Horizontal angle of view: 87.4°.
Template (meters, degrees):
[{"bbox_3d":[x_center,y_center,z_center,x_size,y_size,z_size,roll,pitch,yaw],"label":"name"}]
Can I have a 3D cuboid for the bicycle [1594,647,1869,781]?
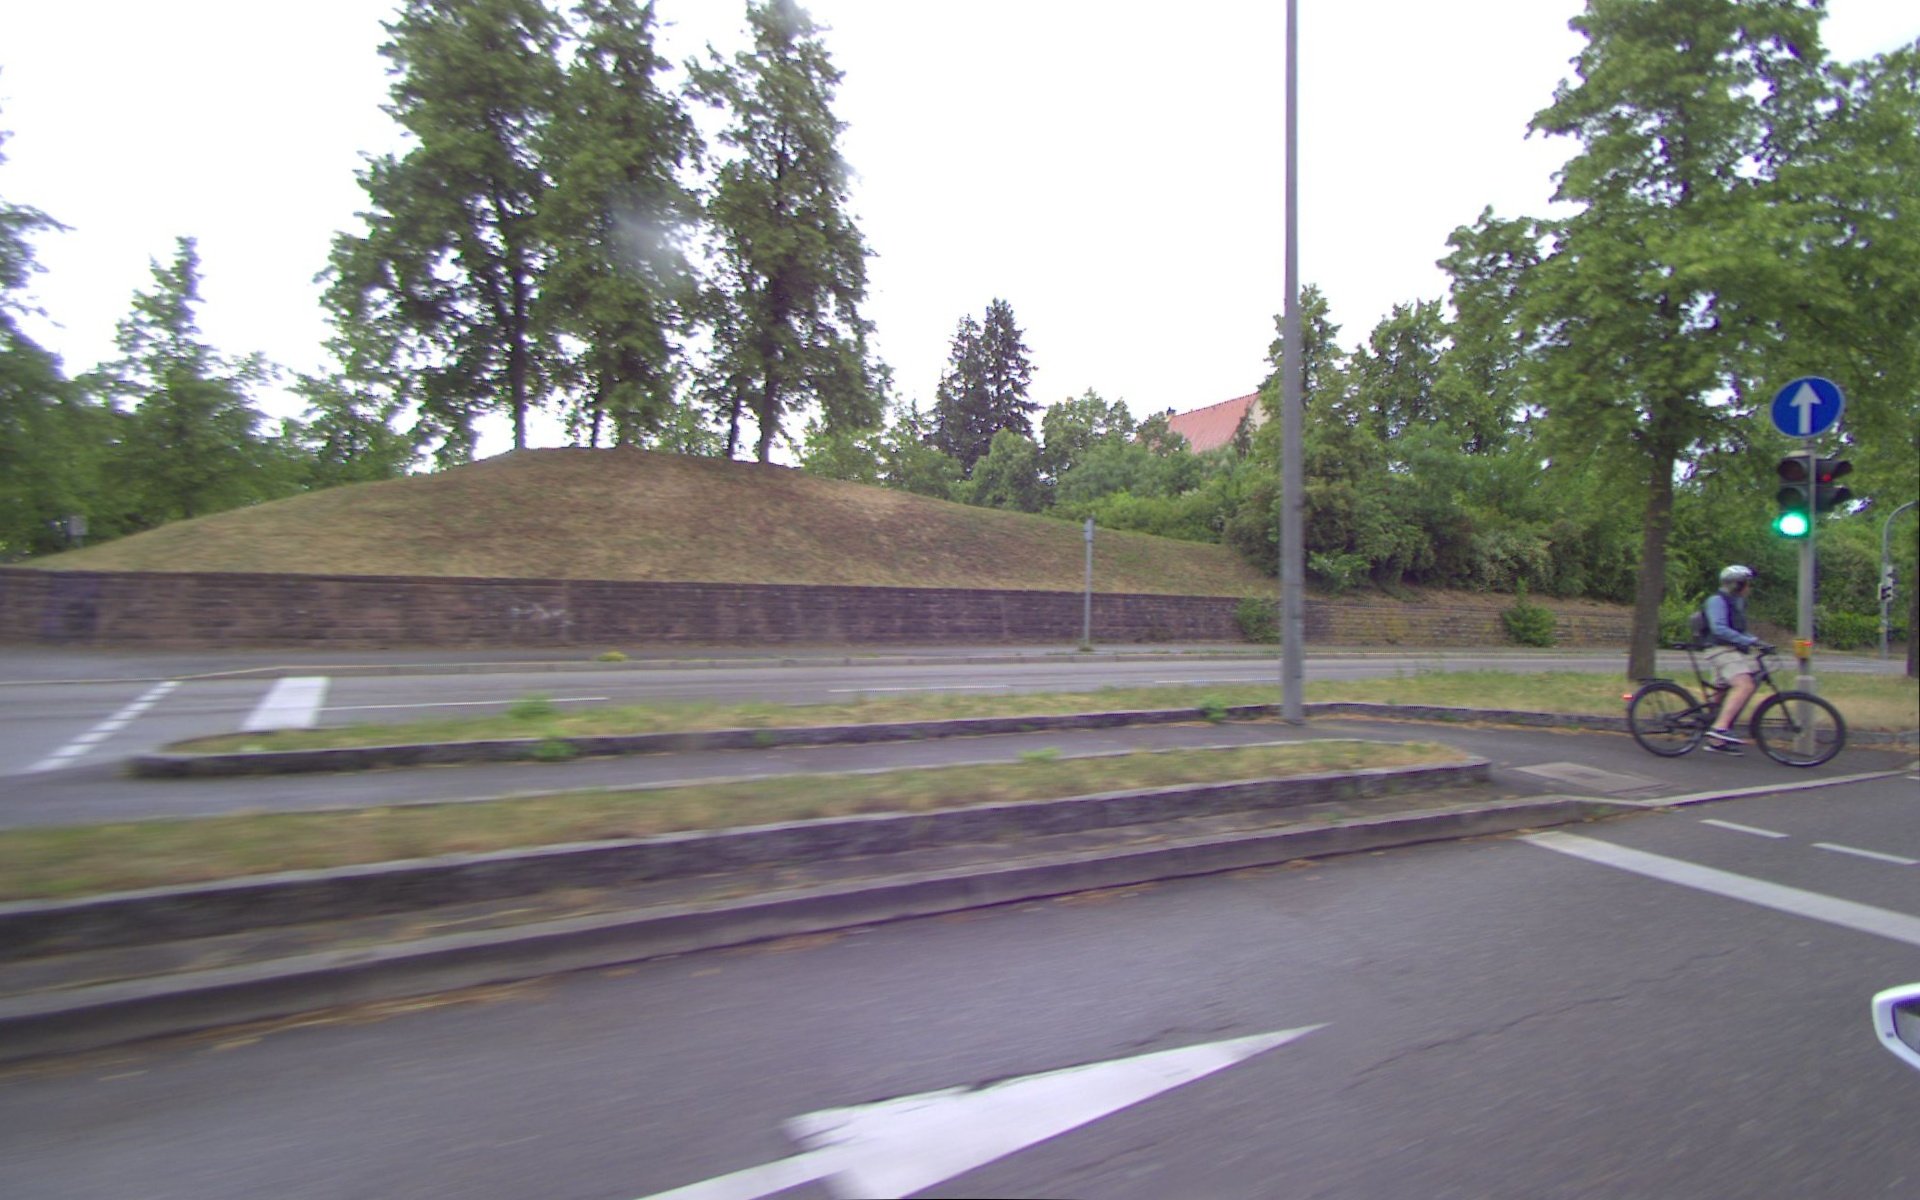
[{"bbox_3d":[7.449,1.082,9.771,2.097,1.158,0.554,2,1,7],"label":"bicycle"}]

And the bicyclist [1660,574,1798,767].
[{"bbox_3d":[7.496,0.671,9.826,0.785,1.775,0.726,2,-2,7],"label":"bicyclist"}]
